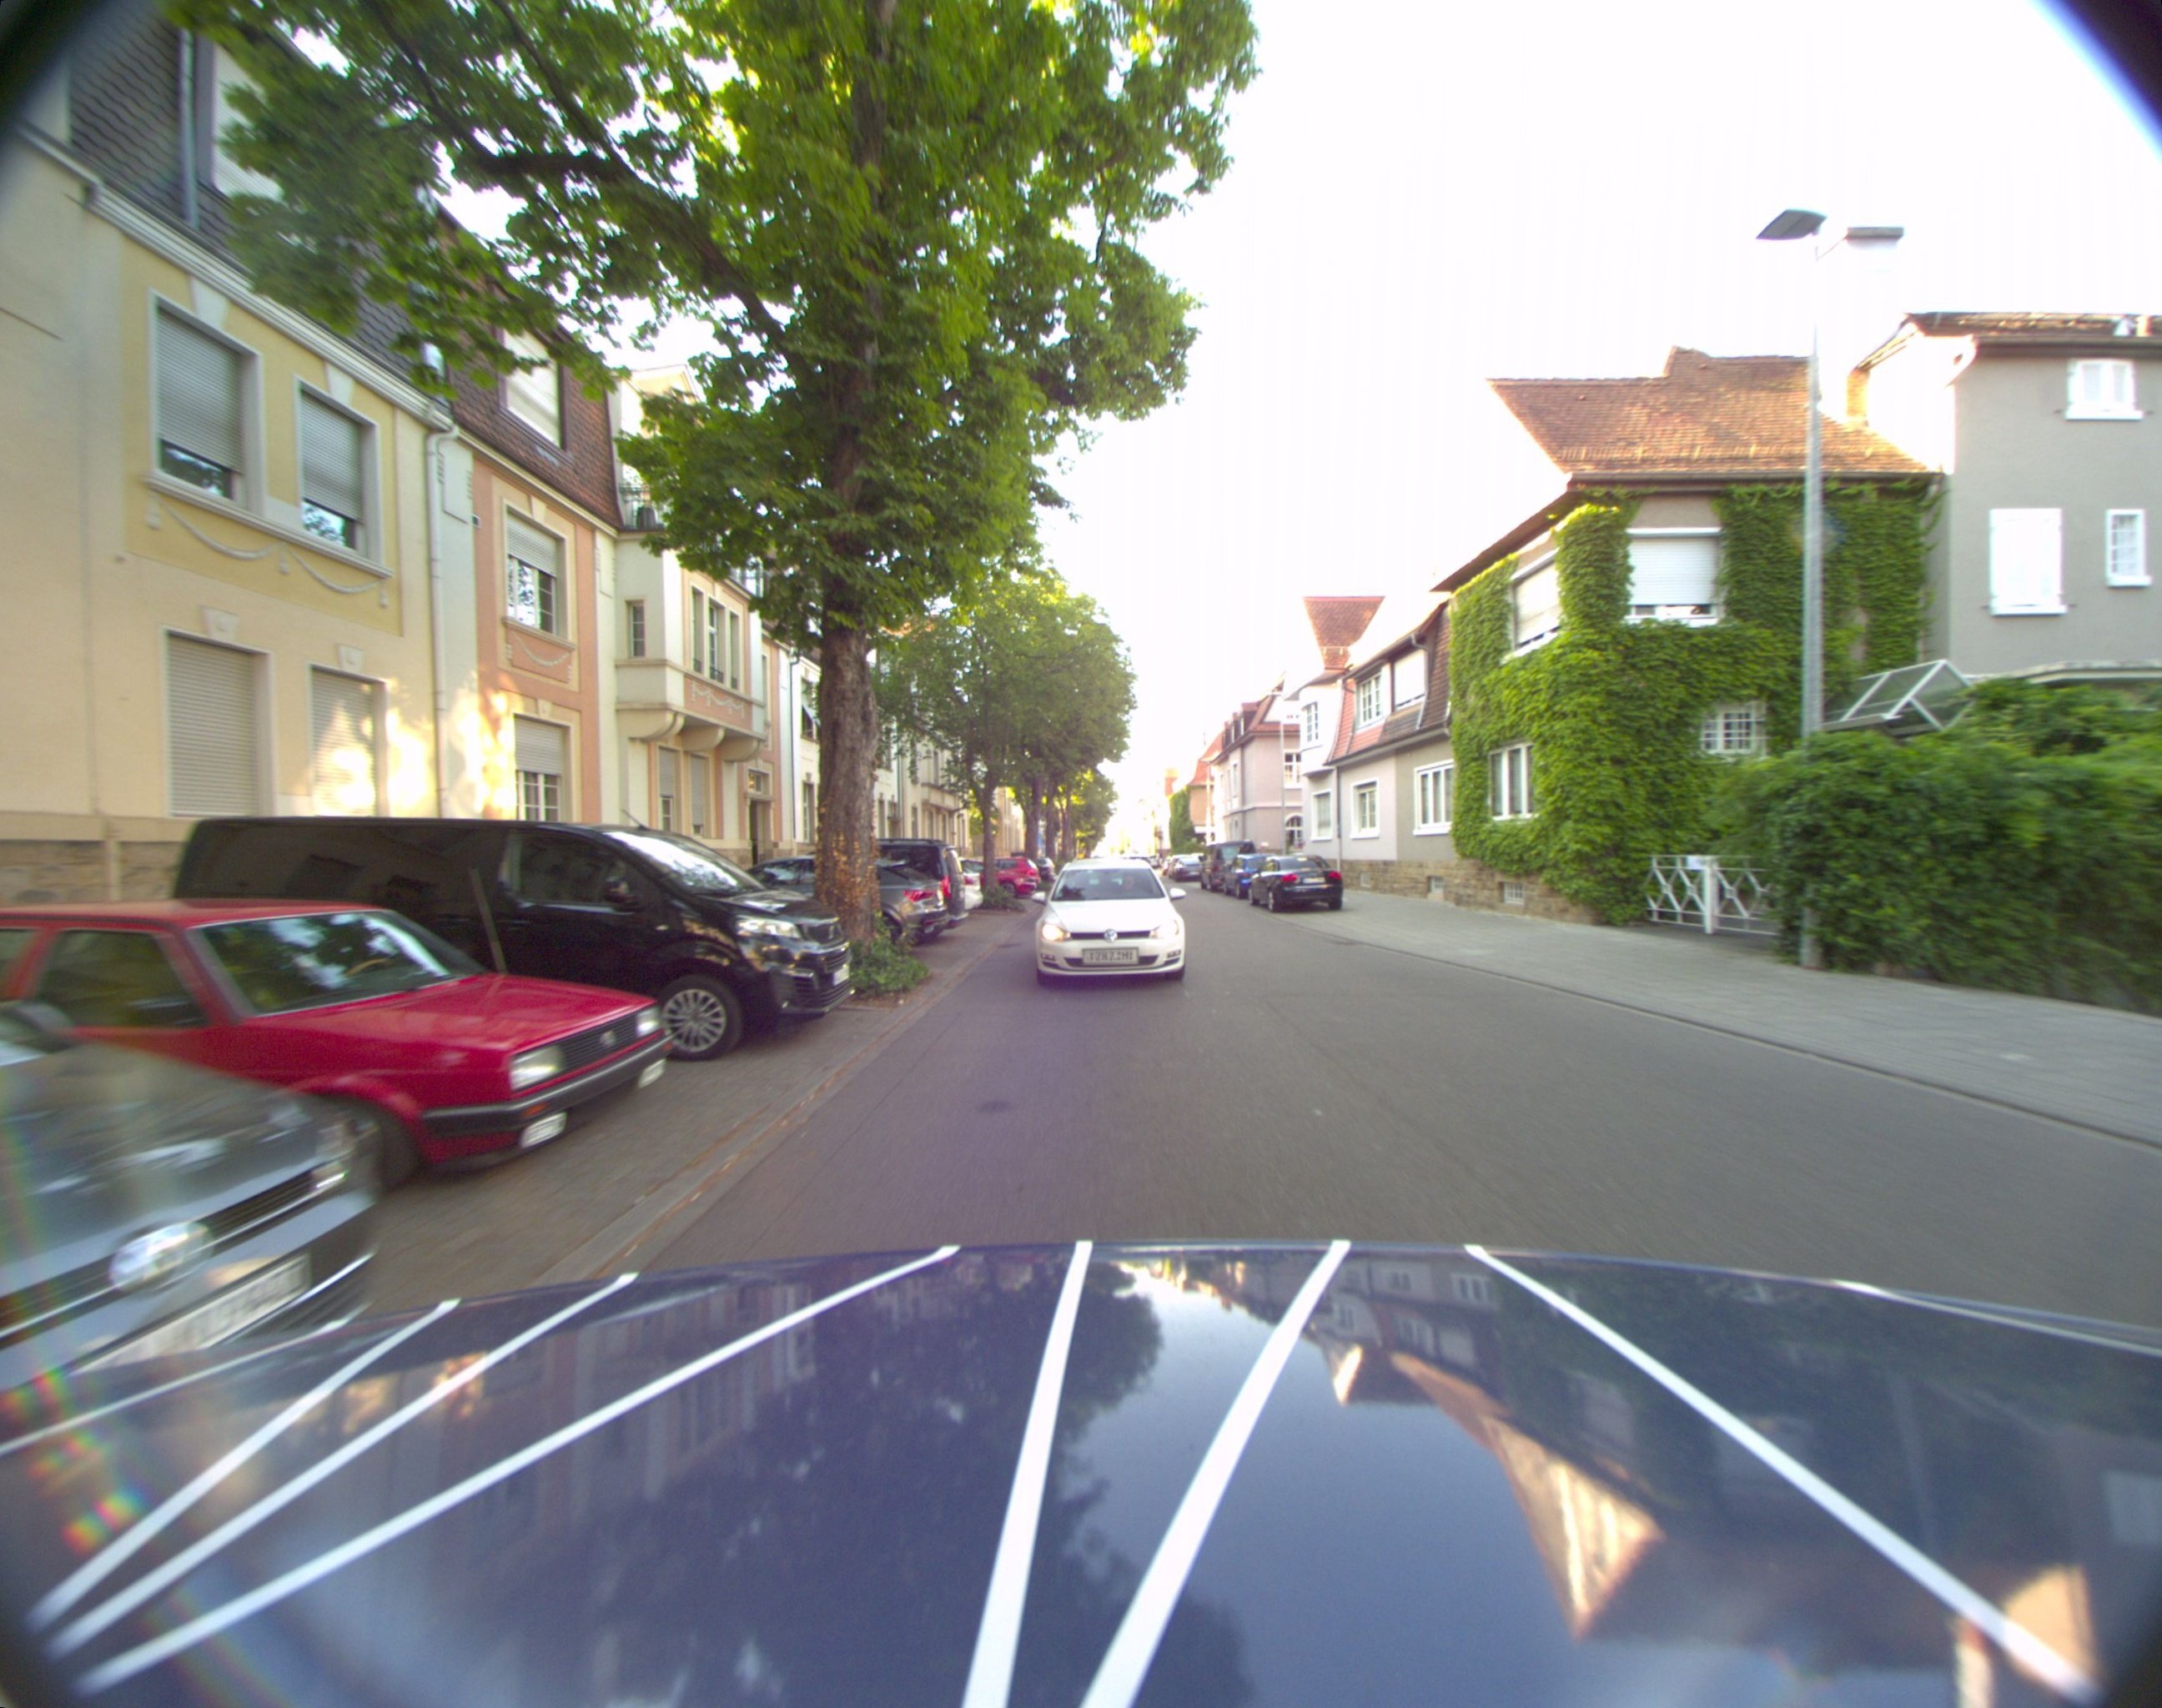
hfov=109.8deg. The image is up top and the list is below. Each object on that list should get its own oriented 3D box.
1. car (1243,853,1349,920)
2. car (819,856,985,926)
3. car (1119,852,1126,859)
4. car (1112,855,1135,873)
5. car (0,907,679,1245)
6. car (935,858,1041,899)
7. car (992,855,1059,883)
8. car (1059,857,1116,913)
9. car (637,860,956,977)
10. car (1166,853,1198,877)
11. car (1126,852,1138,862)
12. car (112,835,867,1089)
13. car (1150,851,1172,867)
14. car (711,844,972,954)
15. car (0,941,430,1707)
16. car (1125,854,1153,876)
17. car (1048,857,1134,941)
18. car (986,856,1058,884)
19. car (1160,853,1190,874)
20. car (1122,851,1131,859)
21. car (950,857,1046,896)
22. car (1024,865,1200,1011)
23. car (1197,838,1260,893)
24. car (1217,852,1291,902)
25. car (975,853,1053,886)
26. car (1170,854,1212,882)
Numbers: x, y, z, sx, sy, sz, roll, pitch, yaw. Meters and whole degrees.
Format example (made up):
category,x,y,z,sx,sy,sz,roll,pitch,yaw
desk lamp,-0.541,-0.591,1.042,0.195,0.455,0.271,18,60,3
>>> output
category,x,y,z,sx,sy,sz,roll,pitch,yaw
car,5.573,0.778,20.171,1.751,1.420,4.024,-4,1,3
car,-4.177,0.853,18.107,3.623,1.541,1.537,1,1,-2
car,9.786,0.275,179.041,1.643,1.461,3.690,-3,0,2
car,3.562,0.816,64.713,1.785,1.453,4.300,1,0,1
car,-4.534,1.025,4.070,3.921,1.313,1.558,1,1,-1
car,-3.357,0.867,27.740,3.621,1.395,1.538,1,1,2
car,-3.092,0.822,42.833,3.621,1.555,1.538,0,1,2
car,0.253,0.880,23.190,1.560,1.546,3.739,1,0,2
car,-4.076,0.913,11.385,4.172,1.583,1.594,1,1,-2
car,6.324,0.683,47.866,1.541,1.363,3.946,-3,0,1
car,8.090,0.477,120.111,1.643,1.461,3.690,-3,0,2
car,-4.495,0.783,6.451,4.834,1.814,1.880,1,1,-2
car,7.739,0.442,73.789,1.643,1.461,3.946,-3,0,1
car,-4.127,0.761,13.566,4.172,1.816,1.594,1,1,-2
car,-4.073,0.981,1.547,4.059,1.413,1.628,1,1,-1
car,4.000,0.745,53.052,1.620,1.493,3.591,1,0,-1
car,0.266,0.863,16.413,1.599,1.546,4.001,1,0,2
car,-3.100,0.829,40.146,3.621,1.395,1.538,0,1,2
car,6.899,0.663,56.157,1.719,1.363,3.946,-3,0,1
car,9.249,0.141,154.991,1.643,1.461,3.690,-3,0,2
car,-3.260,0.889,30.300,3.621,1.456,1.538,1,1,2
car,0.336,0.916,10.036,1.799,1.420,4.024,-2,0,0
car,5.925,0.420,30.989,1.719,1.961,4.311,-4,1,1
car,5.853,0.722,26.178,1.610,1.455,4.024,-4,1,1
car,-3.217,0.731,36.905,3.621,1.555,1.538,0,1,2
car,6.083,0.733,42.488,1.719,1.363,4.334,-3,0,1
